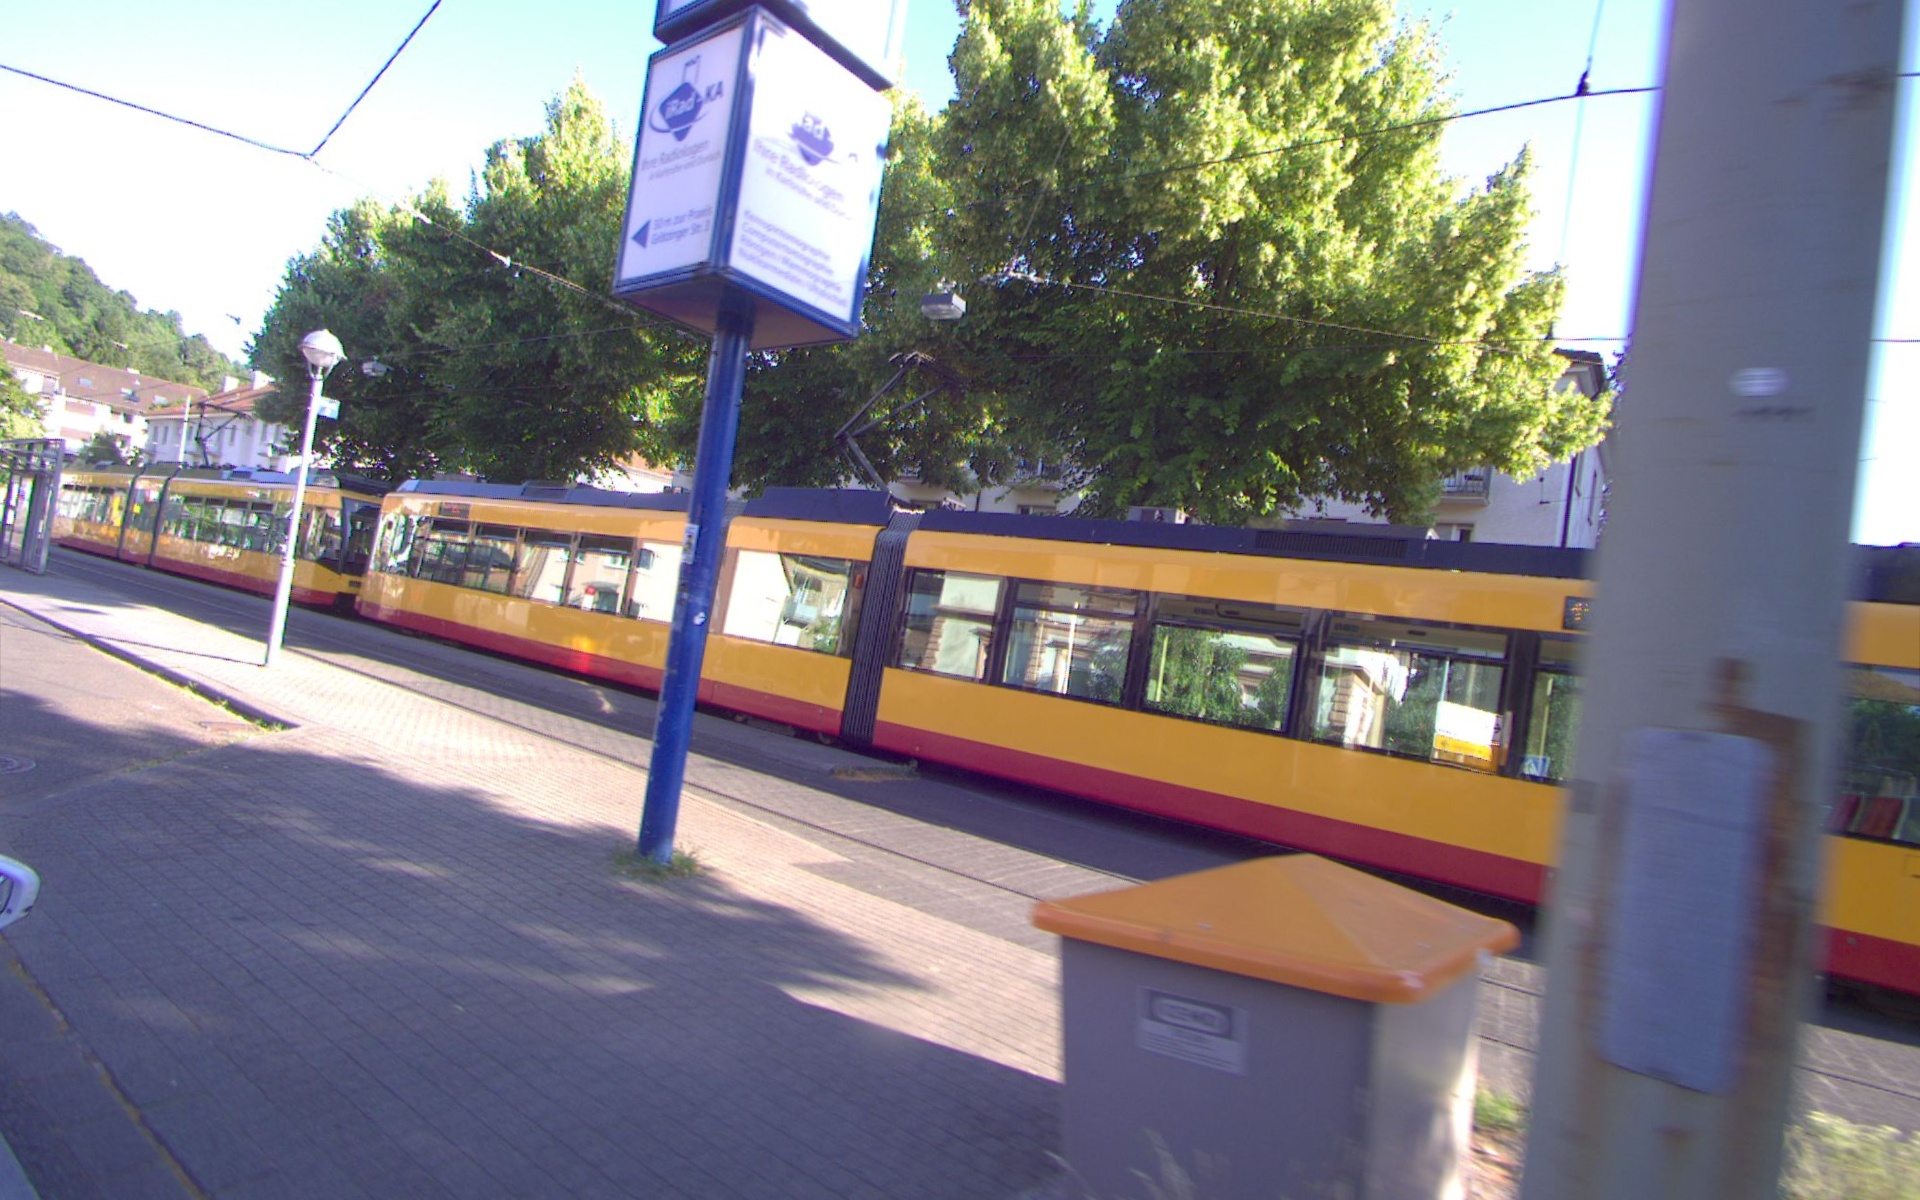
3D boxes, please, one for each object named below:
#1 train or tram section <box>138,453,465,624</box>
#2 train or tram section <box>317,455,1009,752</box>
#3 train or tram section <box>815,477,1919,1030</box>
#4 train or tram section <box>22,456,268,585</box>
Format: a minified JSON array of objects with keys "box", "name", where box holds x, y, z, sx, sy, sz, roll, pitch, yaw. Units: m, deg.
[{"box":[-18.591,-1.890,27.726,13.260,3.575,2.959,6,-2,37],"name":"train or tram section"},{"box":[-6.624,-0.463,18.467,15.691,3.462,2.959,7,-1,36],"name":"train or tram section"},{"box":[4.574,0.993,10.323,13.251,3.462,2.960,7,-1,35],"name":"train or tram section"},{"box":[-29.868,-3.055,36.347,15.728,3.575,2.959,6,-2,37],"name":"train or tram section"}]
